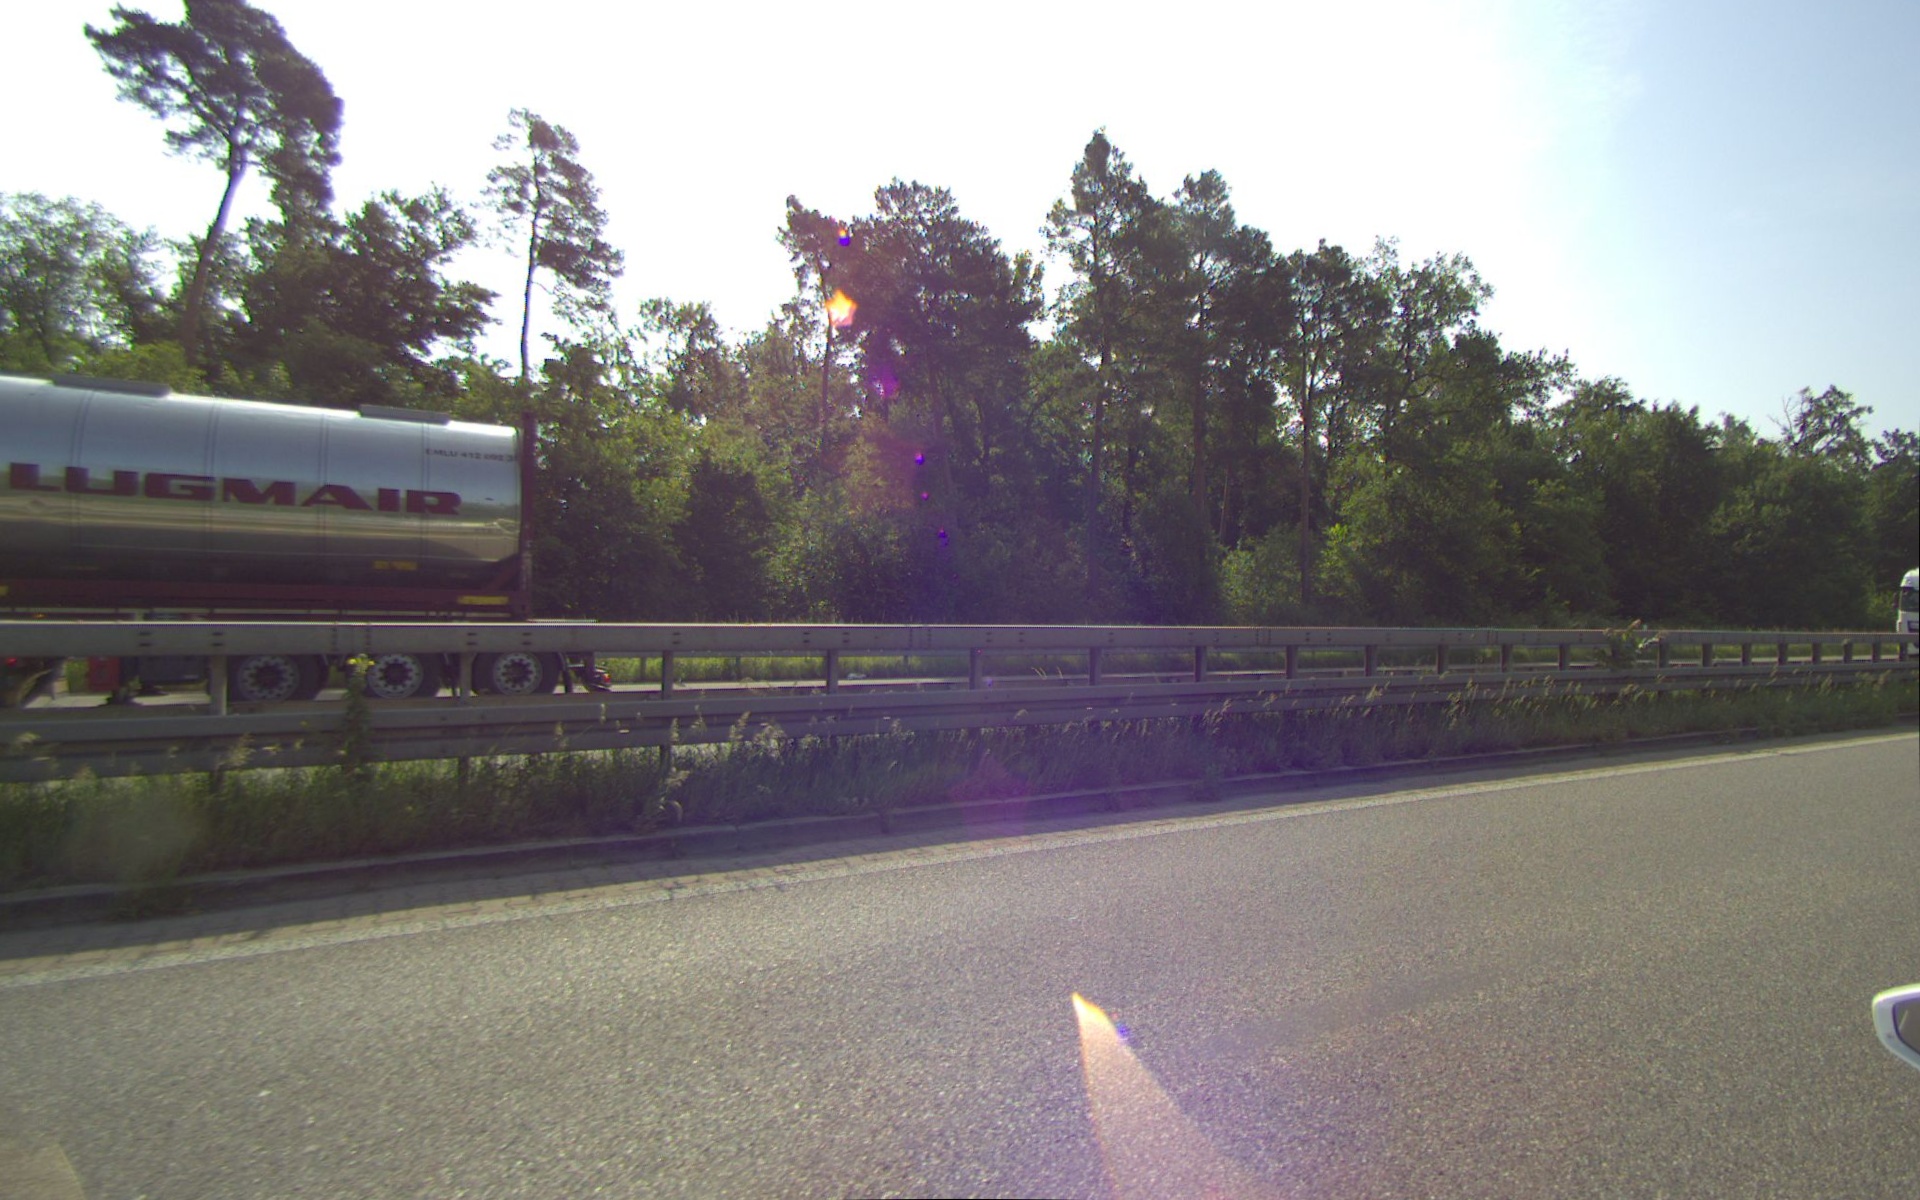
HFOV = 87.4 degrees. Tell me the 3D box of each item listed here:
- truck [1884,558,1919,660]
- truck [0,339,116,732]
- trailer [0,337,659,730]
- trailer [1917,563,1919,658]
[{"bbox_3d":[42.514,0.411,43.126,5.484,4.251,2.823,1,-1,-32],"label":"truck"},{"bbox_3d":[-13.159,-0.758,10.439,6.162,4.093,3.250,2,0,-31],"label":"truck"},{"bbox_3d":[-8.587,-0.632,13.207,8.277,4.093,3.279,2,0,-31],"label":"trailer"},{"bbox_3d":[49.013,0.571,47.241,12.272,4.264,2.818,1,-1,-32],"label":"trailer"}]
